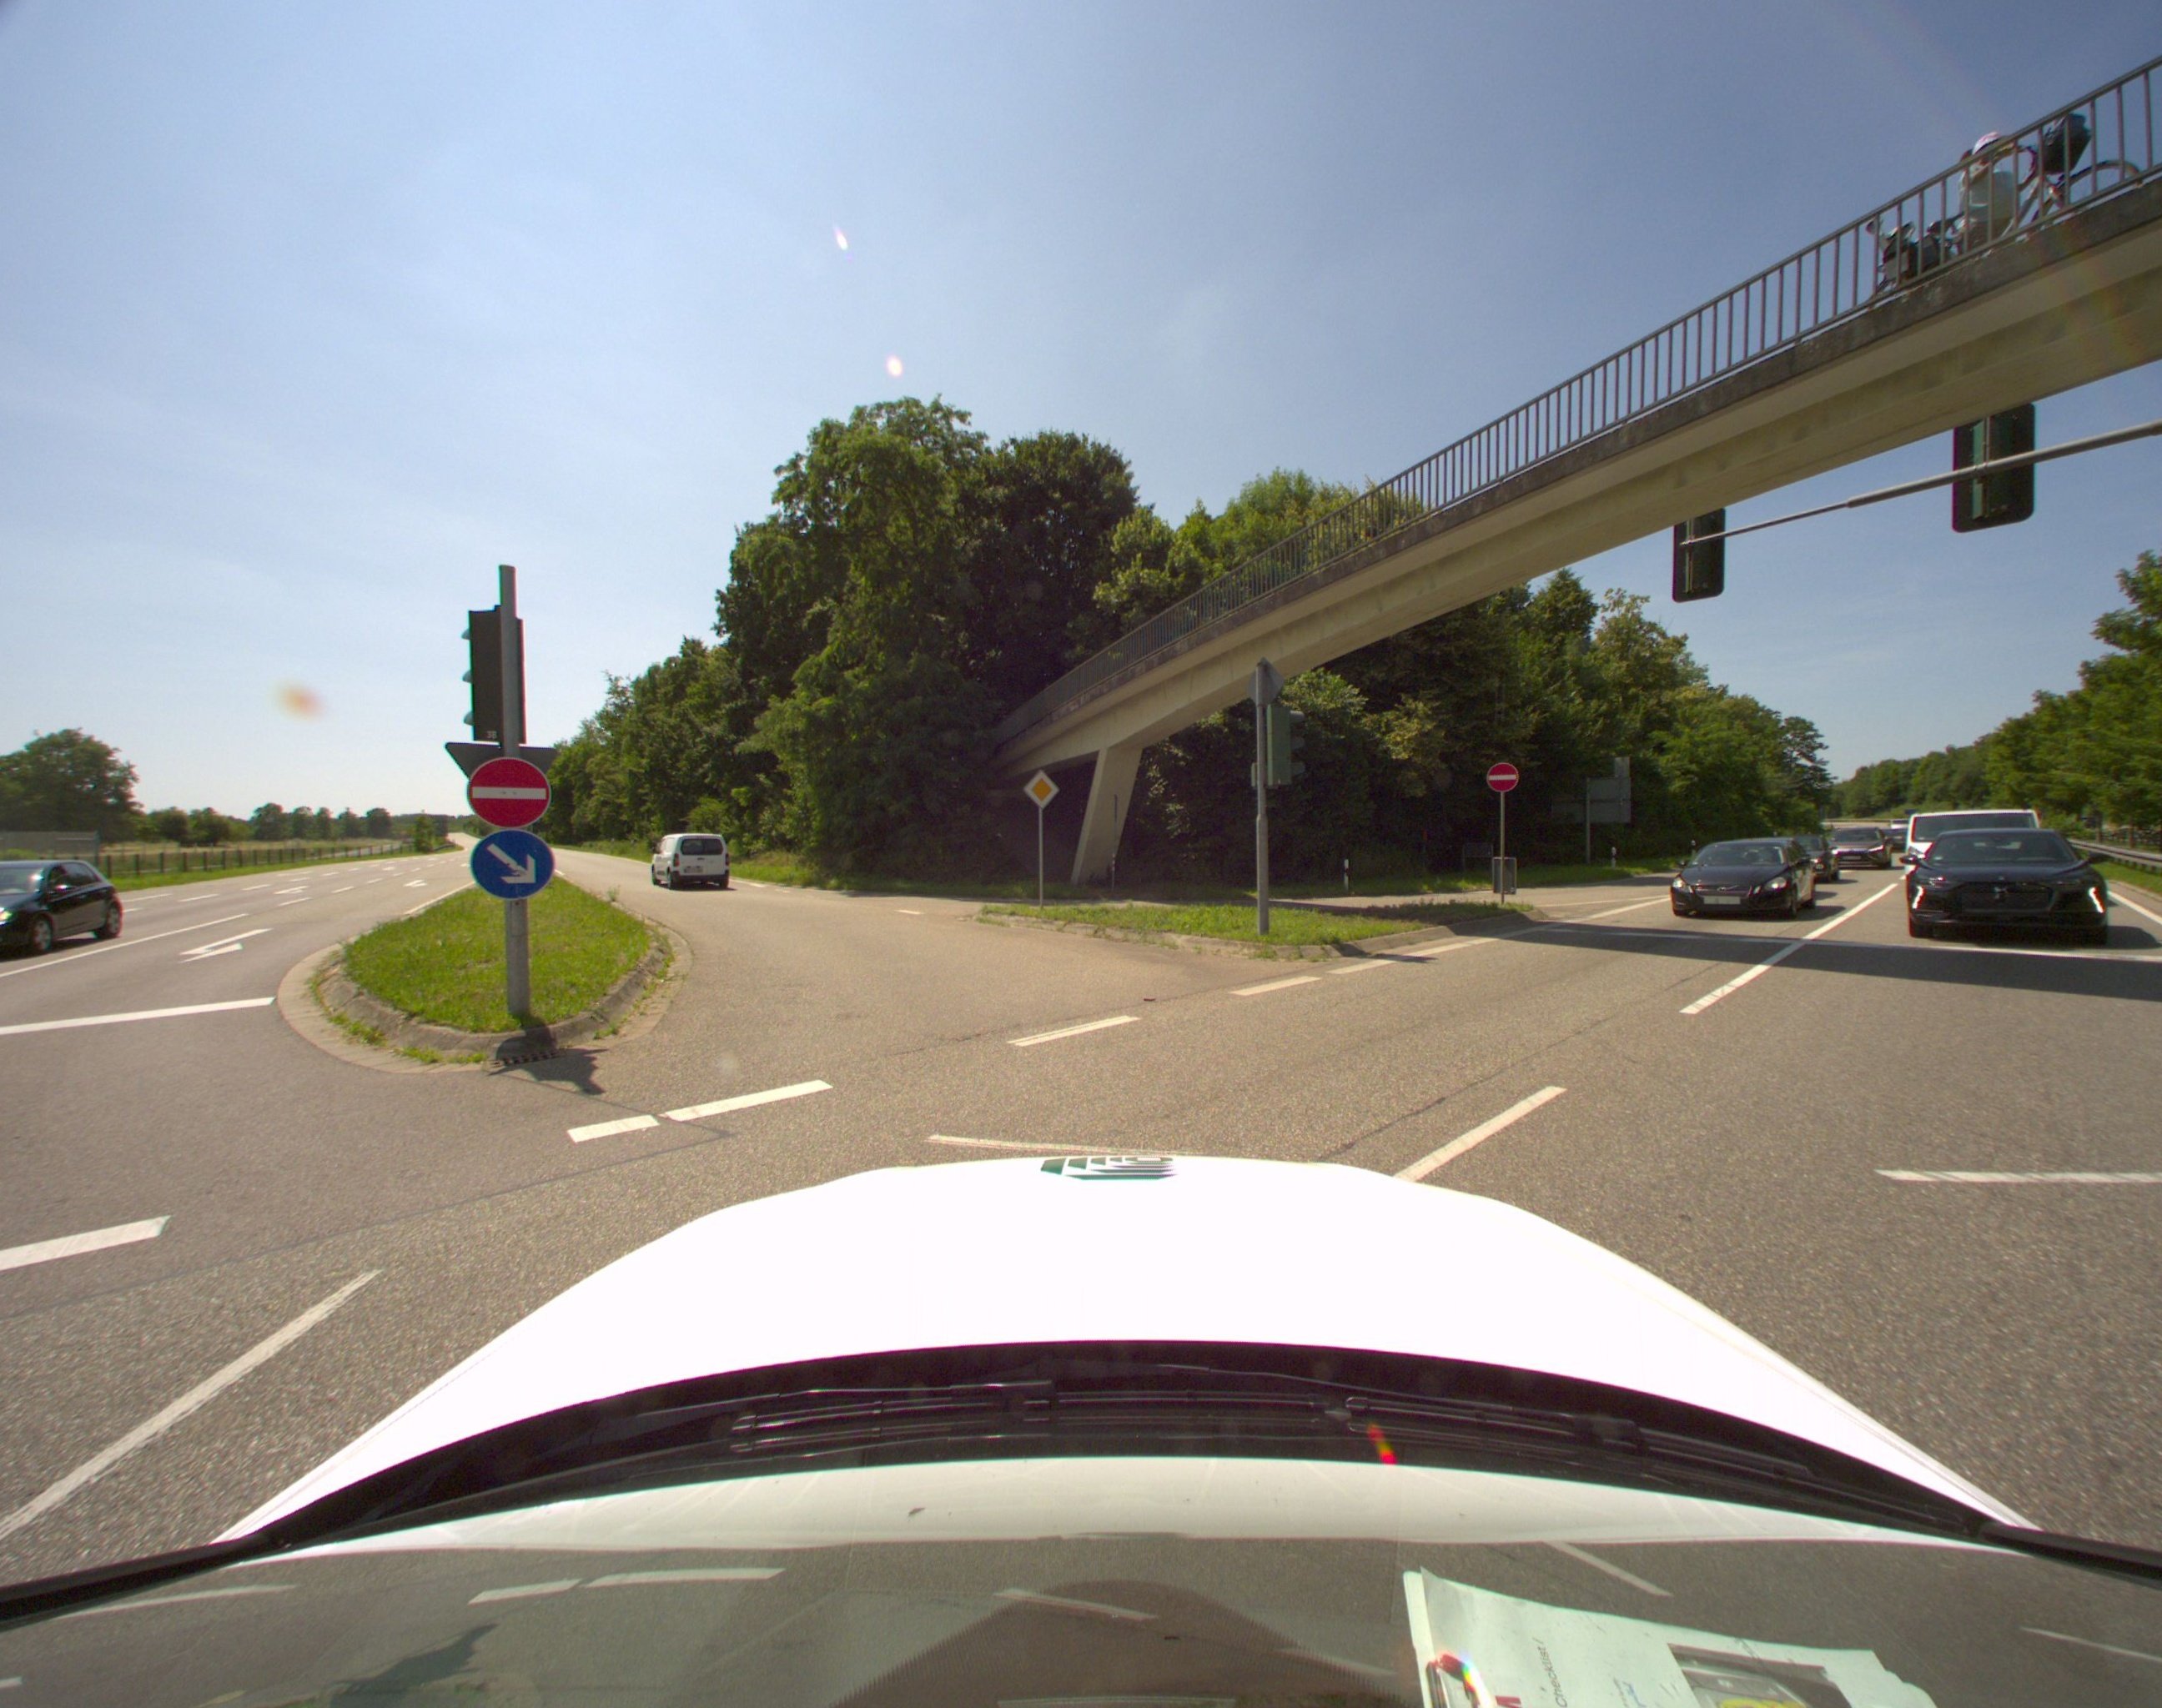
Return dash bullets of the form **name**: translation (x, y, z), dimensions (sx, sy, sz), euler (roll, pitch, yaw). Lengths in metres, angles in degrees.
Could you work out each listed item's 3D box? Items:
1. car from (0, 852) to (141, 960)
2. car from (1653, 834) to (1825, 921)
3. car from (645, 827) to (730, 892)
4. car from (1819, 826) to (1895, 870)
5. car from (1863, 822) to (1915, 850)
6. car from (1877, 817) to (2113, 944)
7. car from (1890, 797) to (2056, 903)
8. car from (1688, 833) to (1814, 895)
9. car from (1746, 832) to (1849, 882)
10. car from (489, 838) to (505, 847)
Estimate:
- **car**: translation (-17.521, 0.817, 13.227), dimensions (1.748, 1.531, 4.124), euler (-5, 3, -33)
- **car**: translation (12.946, 0.369, 15.945), dimensions (4.077, 1.460, 1.990), euler (-2, 1, -42)
- **car**: translation (-13.320, 0.116, 27.459), dimensions (1.863, 1.824, 3.939), euler (0, 5, -37)
- **car**: translation (30.598, -0.257, 32.087), dimensions (4.077, 1.616, 1.845), euler (-2, 0, -42)
- **car**: translation (49.184, -1.116, 49.547), dimensions (4.077, 1.601, 1.990), euler (-2, 1, -42)
- **car**: translation (13.208, 0.304, 11.880), dimensions (4.050, 1.523, 1.976), euler (-2, -1, -42)
- **car**: translation (19.568, -0.127, 17.920), dimensions (5.518, 1.993, 2.189), euler (-2, 0, -42)
- **car**: translation (17.897, 0.220, 21.691), dimensions (4.077, 1.460, 1.990), euler (-2, 1, -42)
- **car**: translation (22.695, 0.042, 25.757), dimensions (4.077, 1.460, 1.990), euler (-2, 2, -42)
- **car**: translation (-91.953, -1.744, 128.170), dimensions (2.009, 1.373, 4.730), euler (-2, 2, -36)
